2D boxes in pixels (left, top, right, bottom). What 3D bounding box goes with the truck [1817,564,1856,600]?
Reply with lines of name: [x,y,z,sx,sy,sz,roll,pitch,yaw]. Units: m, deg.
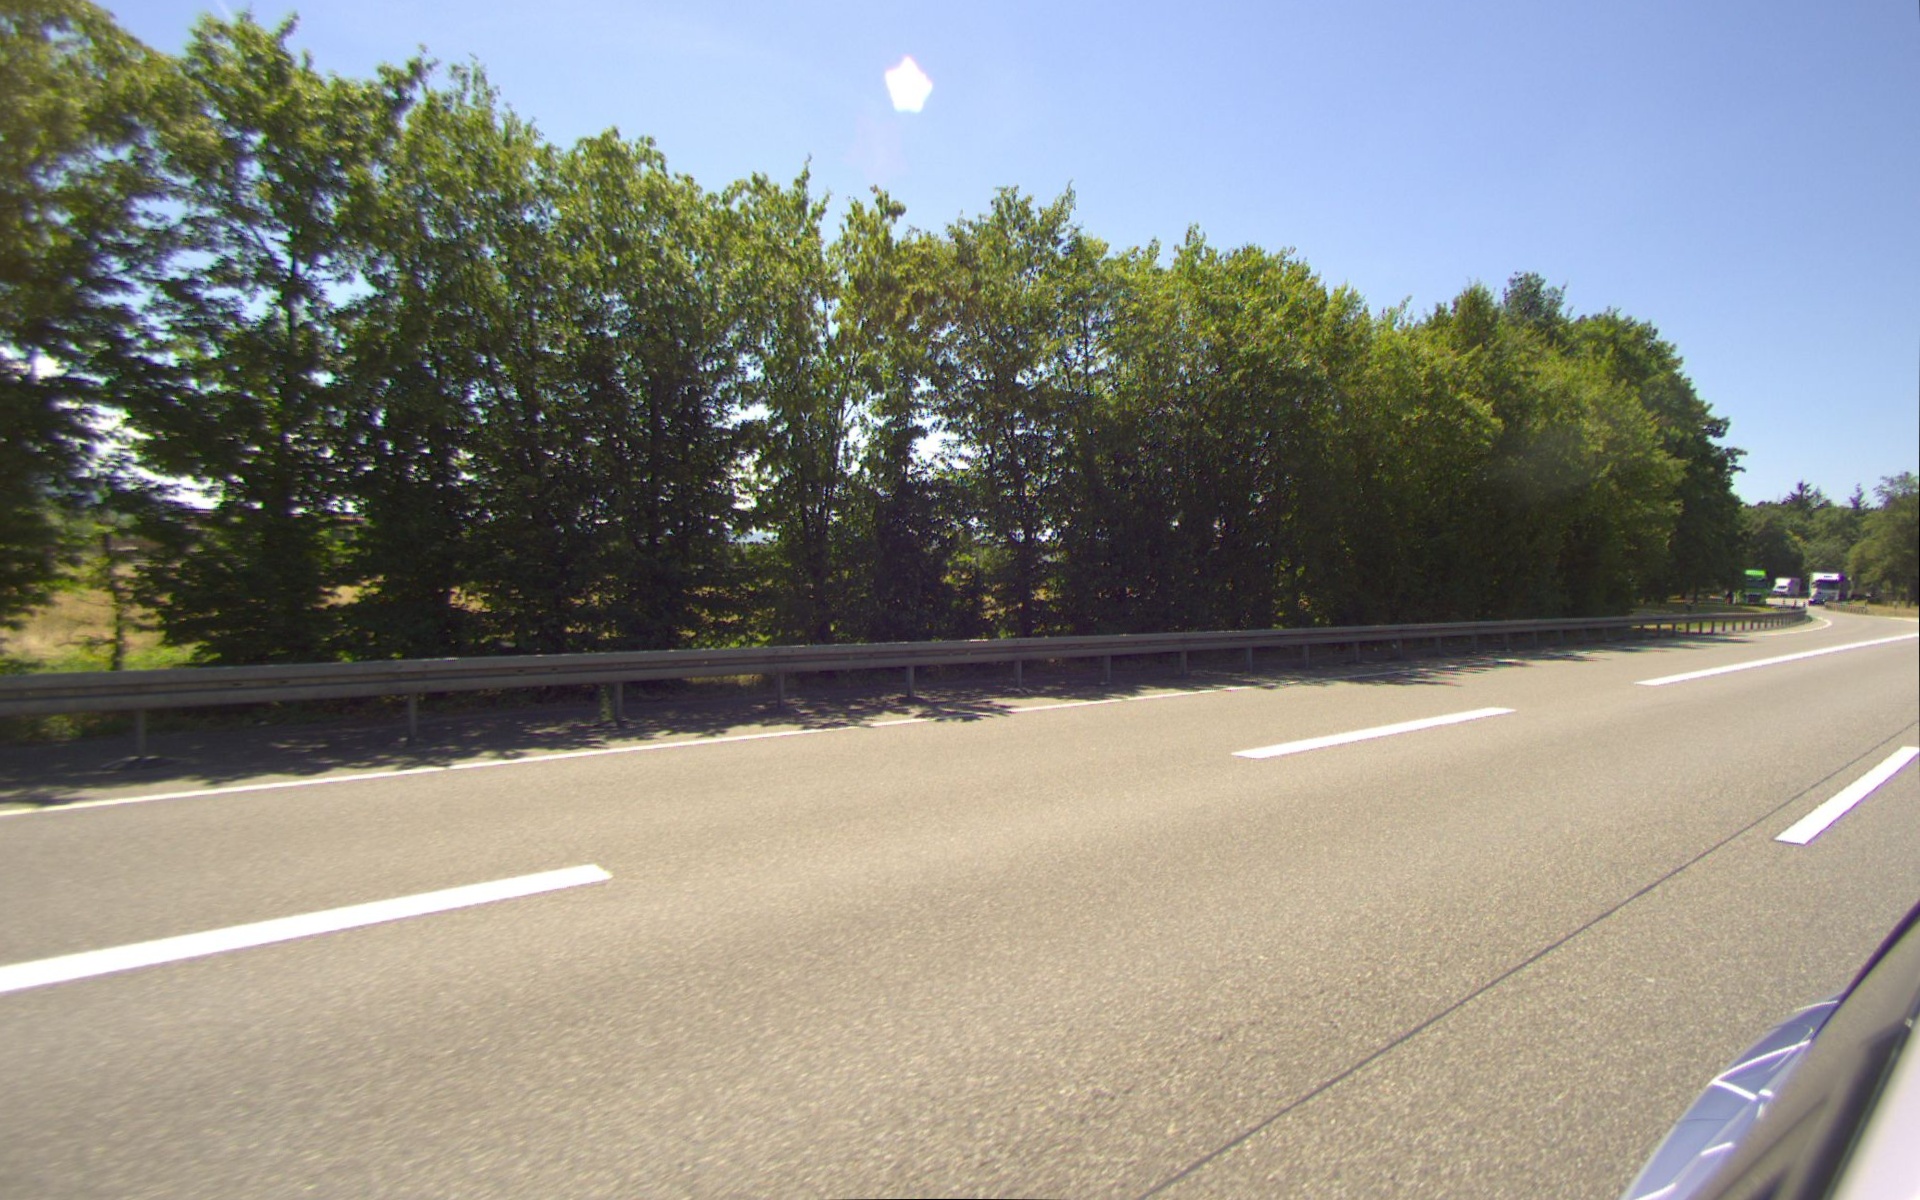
truck: [112.135,-2.250,129.571,3.377,4.519,7.287,0,0,38]

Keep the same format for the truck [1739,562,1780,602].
truck: [89.965,-2.007,113.963,3.374,4.312,6.530,0,0,36]

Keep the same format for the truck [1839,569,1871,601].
truck: [131.692,-2.214,148.933,3.382,4.519,8.108,2,1,42]

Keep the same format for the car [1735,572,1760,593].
car: [101.718,-2.253,130.700,2.303,2.614,6.558,4,3,38]

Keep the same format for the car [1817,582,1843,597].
car: [105.037,-1.250,122.176,4.604,1.731,1.995,-1,4,-45]

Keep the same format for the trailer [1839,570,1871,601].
trailer: [137.368,-2.291,155.269,3.382,4.519,17.852,2,2,42]
